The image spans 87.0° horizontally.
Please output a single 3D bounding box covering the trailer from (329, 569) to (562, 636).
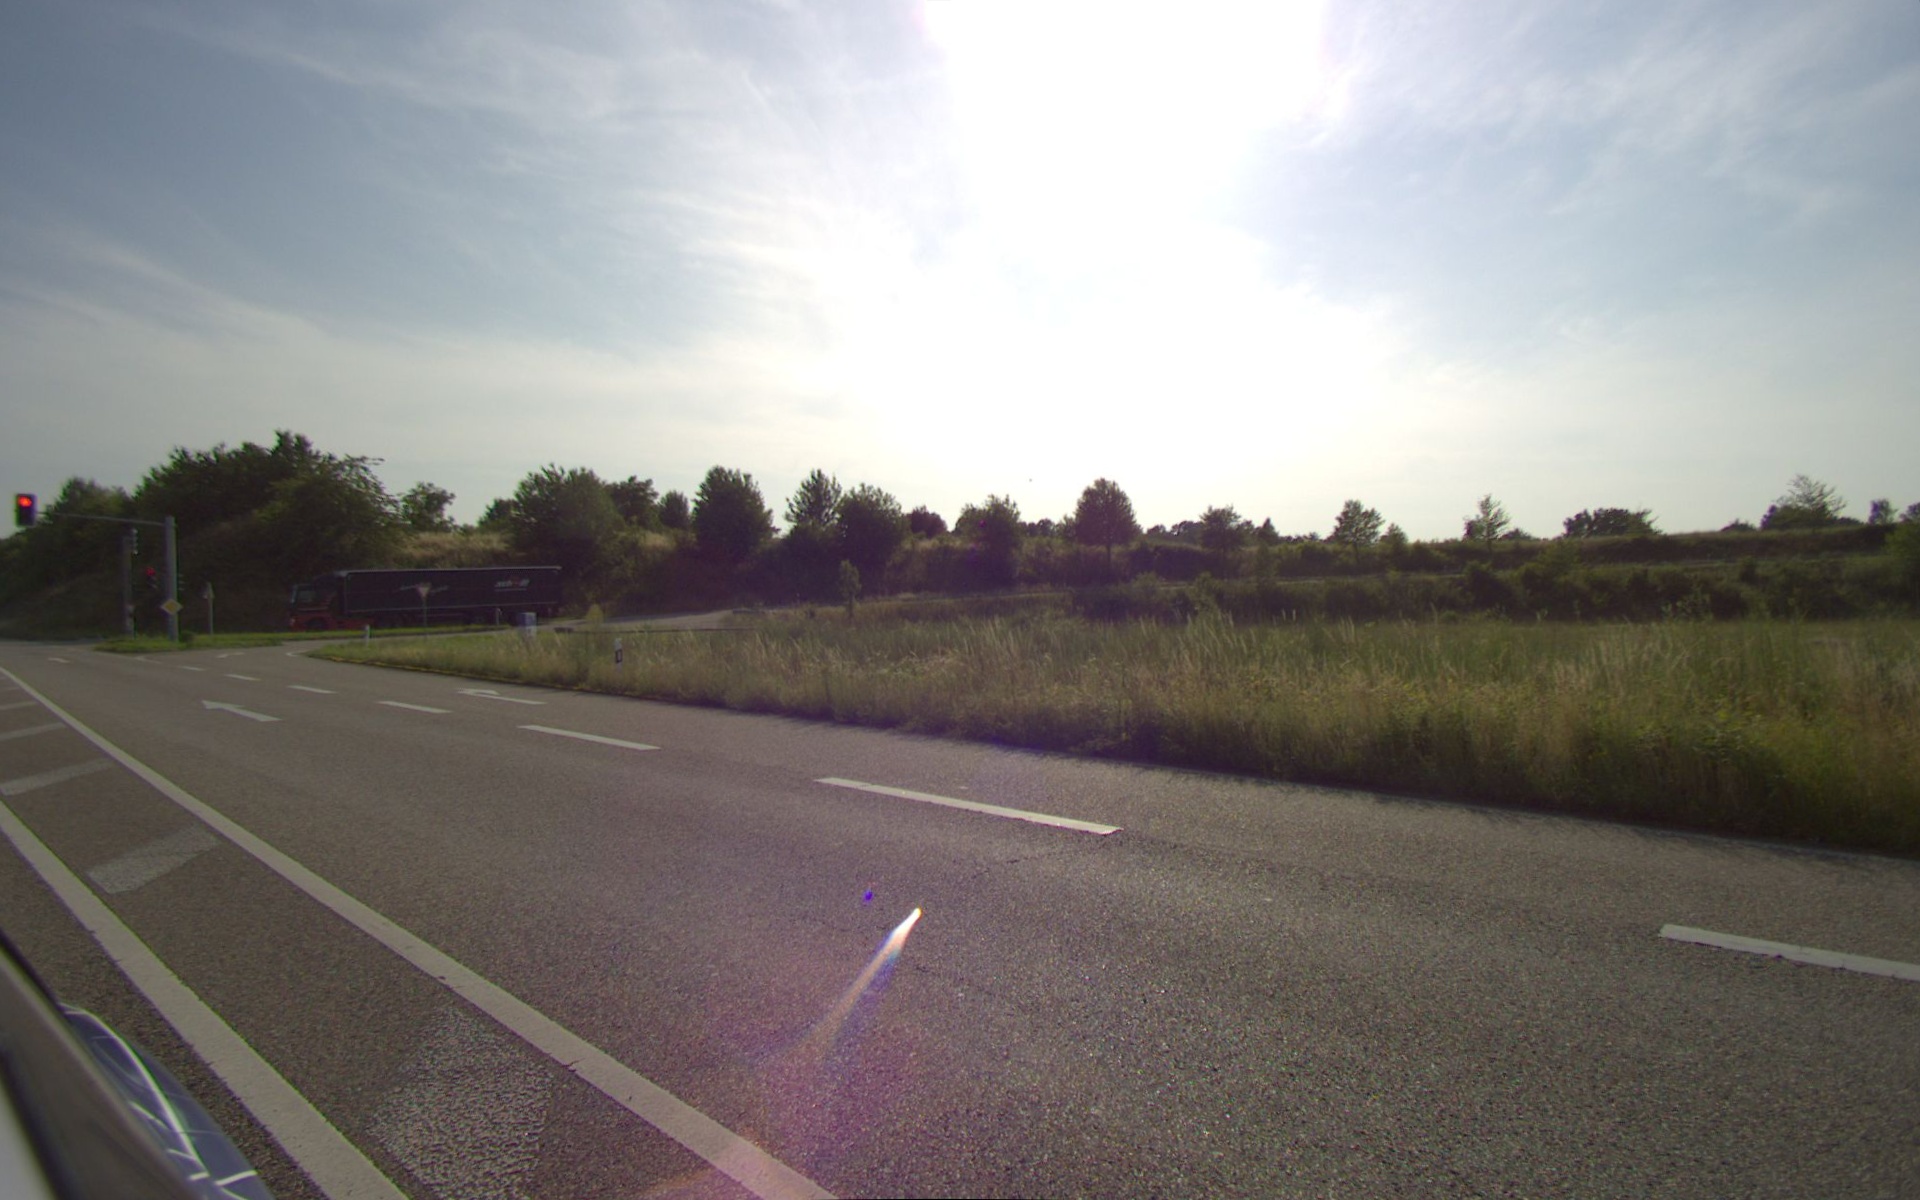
[{"bbox_3d":[-34.521,0.026,68.520,13.581,4.144,3.565,-1,0,-40],"label":"trailer"}]

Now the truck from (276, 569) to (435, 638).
[{"bbox_3d":[-38.739,0.128,65.000,8.268,4.144,3.565,-1,0,-40],"label":"truck"}]
